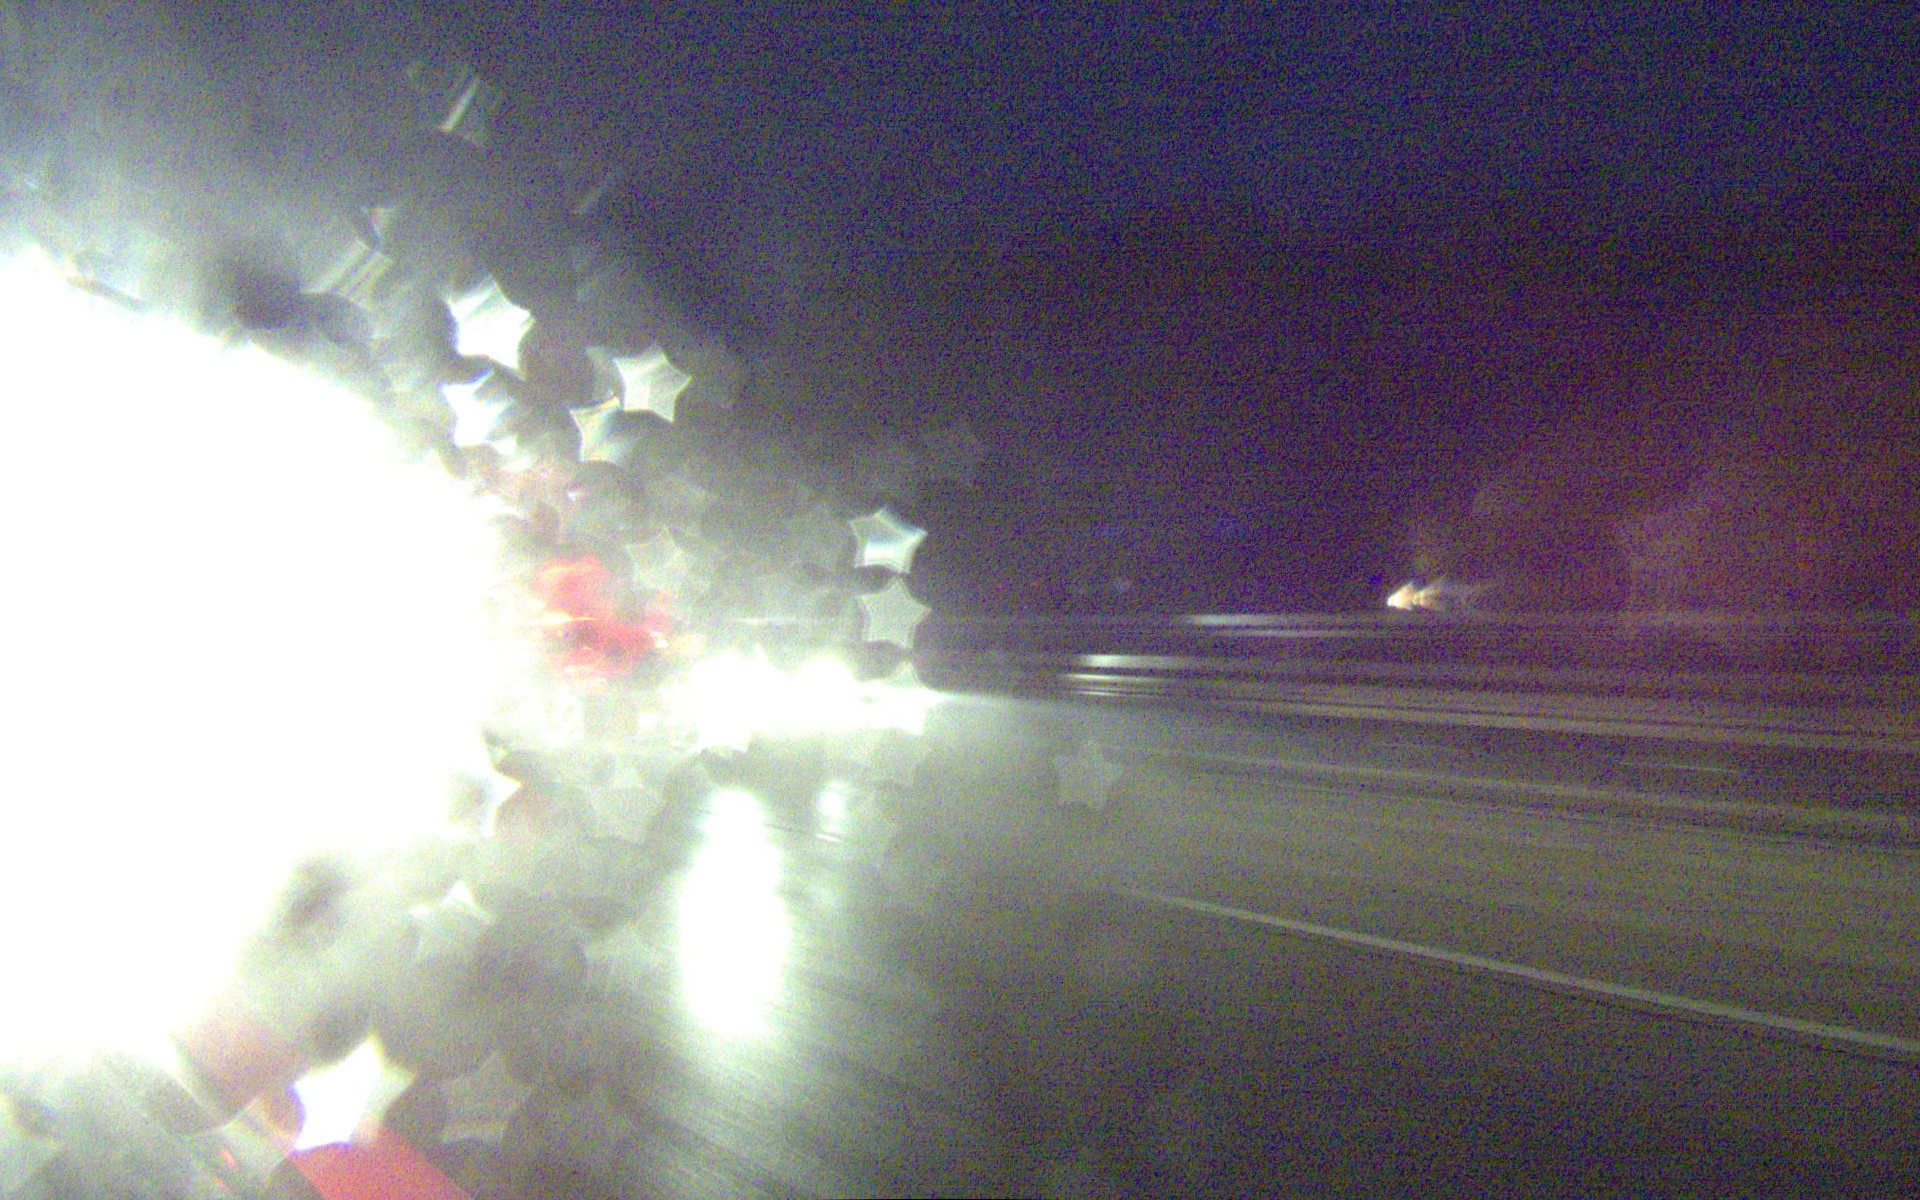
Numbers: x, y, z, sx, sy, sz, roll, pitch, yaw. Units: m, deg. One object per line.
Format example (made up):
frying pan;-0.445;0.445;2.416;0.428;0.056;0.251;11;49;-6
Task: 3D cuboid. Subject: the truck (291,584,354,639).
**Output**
truck;-42.000;0.712;66.600;2.574;3.483;4.645;-2;1;-44

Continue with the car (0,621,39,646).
car;-83.461;2.969;89.745;3.996;2.028;1.974;-1;2;39

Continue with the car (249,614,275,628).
car;-84.731;2.524;122.846;1.875;1.655;4.200;-2;1;-43

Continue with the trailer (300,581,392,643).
trailer;-37.999;0.686;62.431;2.579;3.498;10.455;-2;1;-44

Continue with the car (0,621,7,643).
car;-94.423;3.147;98.437;3.996;2.028;1.974;-1;2;39

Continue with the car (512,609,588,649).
car;-15.905;1.099;39.225;1.585;1.352;3.245;-4;3;-45

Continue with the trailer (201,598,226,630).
trailer;-111.843;2.062;151.551;2.542;4.490;12.519;-2;1;-38

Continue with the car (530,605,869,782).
car;-2.928;0.886;10.966;3.846;1.587;1.633;-2;-1;40

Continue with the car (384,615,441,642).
car;-37.240;1.895;68.856;3.990;1.726;1.815;-1;1;35

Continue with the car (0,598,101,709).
car;-19.610;1.075;21.518;1.729;2.121;4.466;0;-1;-45

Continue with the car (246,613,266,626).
car;-98.065;2.684;140.988;1.968;1.741;4.007;-2;1;-40
